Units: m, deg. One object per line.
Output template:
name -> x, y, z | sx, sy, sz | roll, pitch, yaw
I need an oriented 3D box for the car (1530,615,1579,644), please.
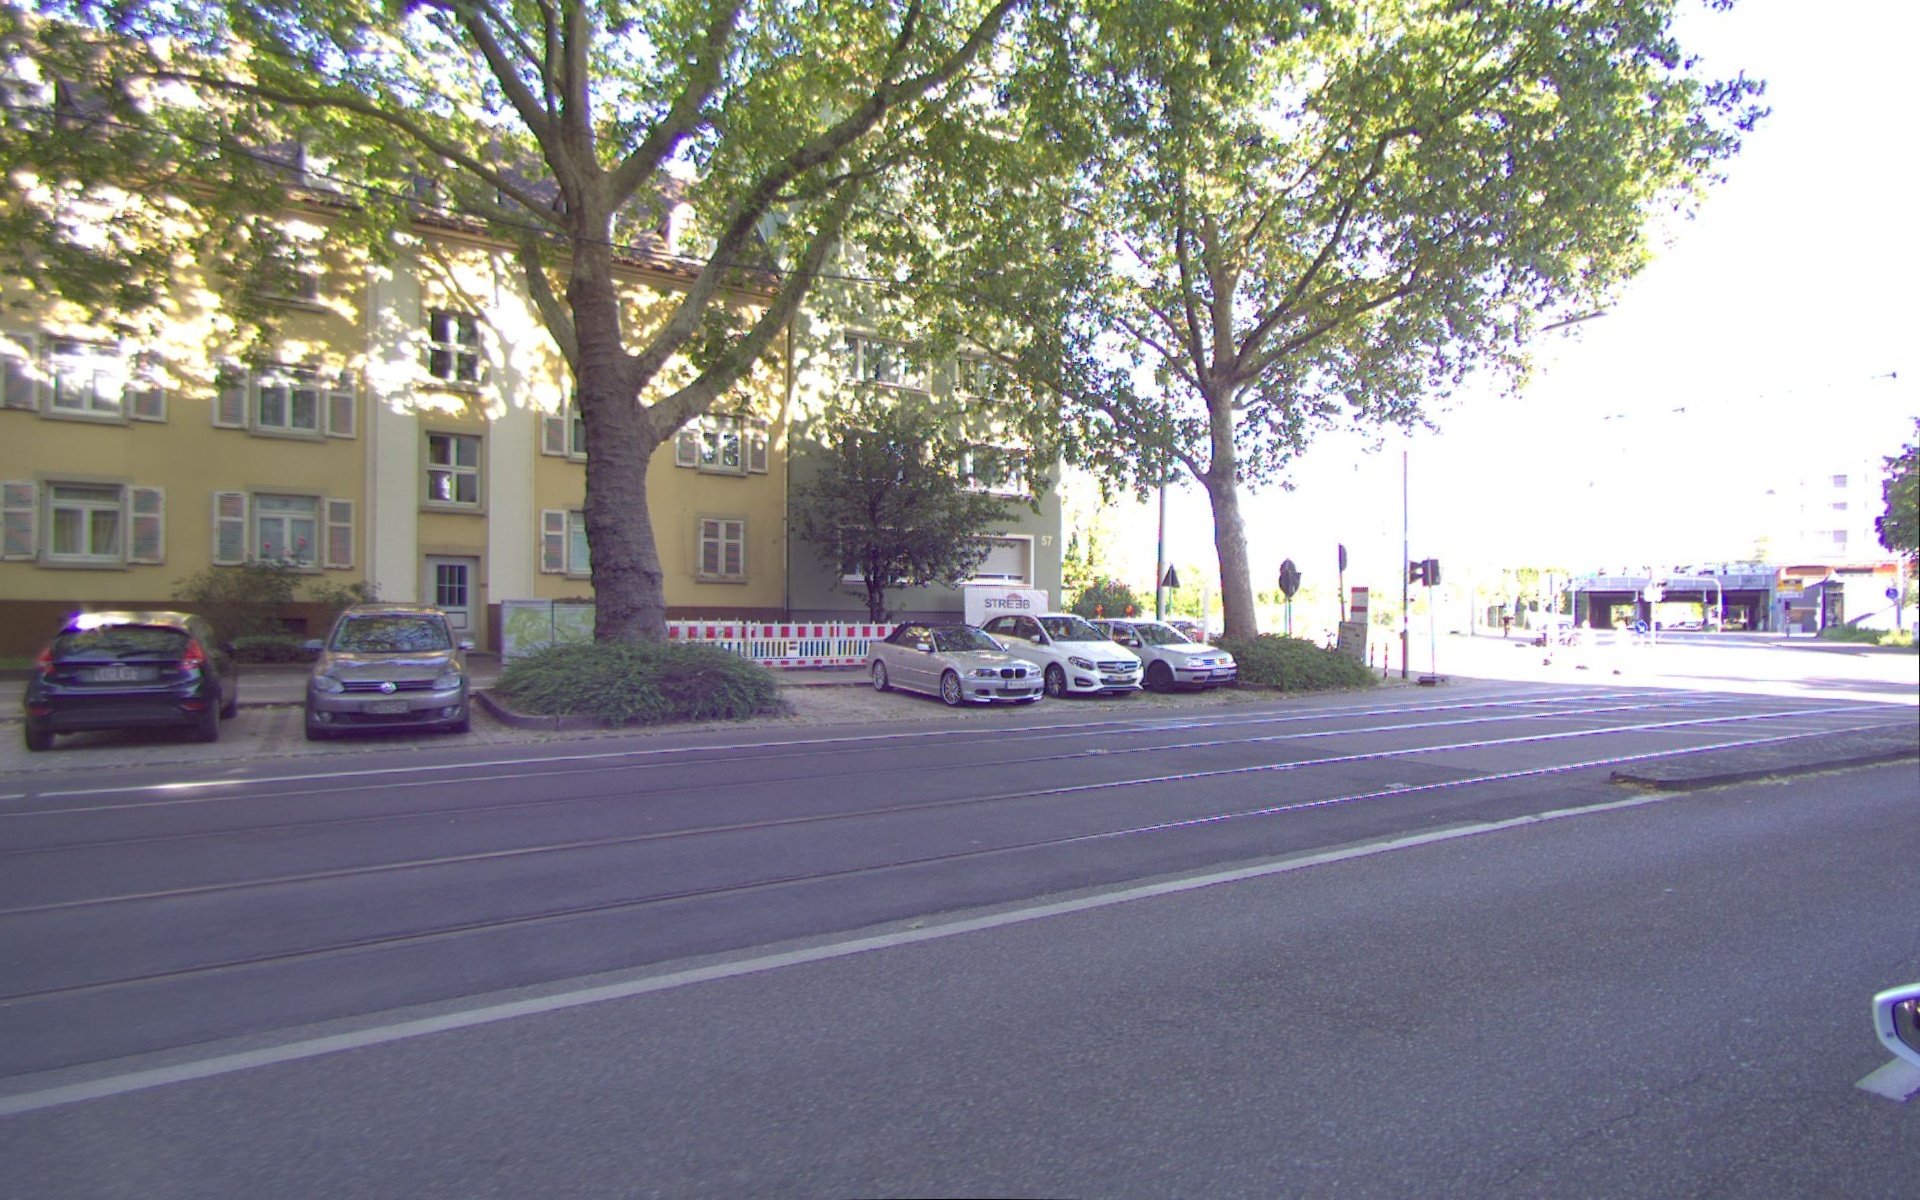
car -> 34.148, 1.659, 57.658 | 1.803, 1.539, 3.876 | 3, 1, 40

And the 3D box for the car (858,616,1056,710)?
car -> -0.184, 1.054, 18.309 | 1.708, 1.386, 4.220 | 1, 0, -31

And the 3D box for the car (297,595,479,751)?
car -> -7.513, 0.807, 13.333 | 1.793, 1.627, 4.169 | 1, 1, -29

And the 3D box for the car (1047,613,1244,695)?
car -> 3.860, 1.074, 21.679 | 1.656, 1.448, 4.490 | 1, 0, -30

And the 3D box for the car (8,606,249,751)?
car -> -9.875, 0.823, 12.215 | 1.723, 1.449, 3.545 | 1, 0, -31

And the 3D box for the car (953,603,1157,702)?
car -> 1.775, 0.955, 20.344 | 1.777, 1.640, 4.587 | 1, 1, -30

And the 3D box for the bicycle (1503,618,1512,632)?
bicycle -> 42.753, 1.919, 78.445 | 0.572, 1.075, 2.039 | 0, -1, 28

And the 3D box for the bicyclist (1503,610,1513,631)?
bicyclist -> 42.811, 1.592, 78.459 | 0.625, 1.584, 0.832 | 0, -1, 28
